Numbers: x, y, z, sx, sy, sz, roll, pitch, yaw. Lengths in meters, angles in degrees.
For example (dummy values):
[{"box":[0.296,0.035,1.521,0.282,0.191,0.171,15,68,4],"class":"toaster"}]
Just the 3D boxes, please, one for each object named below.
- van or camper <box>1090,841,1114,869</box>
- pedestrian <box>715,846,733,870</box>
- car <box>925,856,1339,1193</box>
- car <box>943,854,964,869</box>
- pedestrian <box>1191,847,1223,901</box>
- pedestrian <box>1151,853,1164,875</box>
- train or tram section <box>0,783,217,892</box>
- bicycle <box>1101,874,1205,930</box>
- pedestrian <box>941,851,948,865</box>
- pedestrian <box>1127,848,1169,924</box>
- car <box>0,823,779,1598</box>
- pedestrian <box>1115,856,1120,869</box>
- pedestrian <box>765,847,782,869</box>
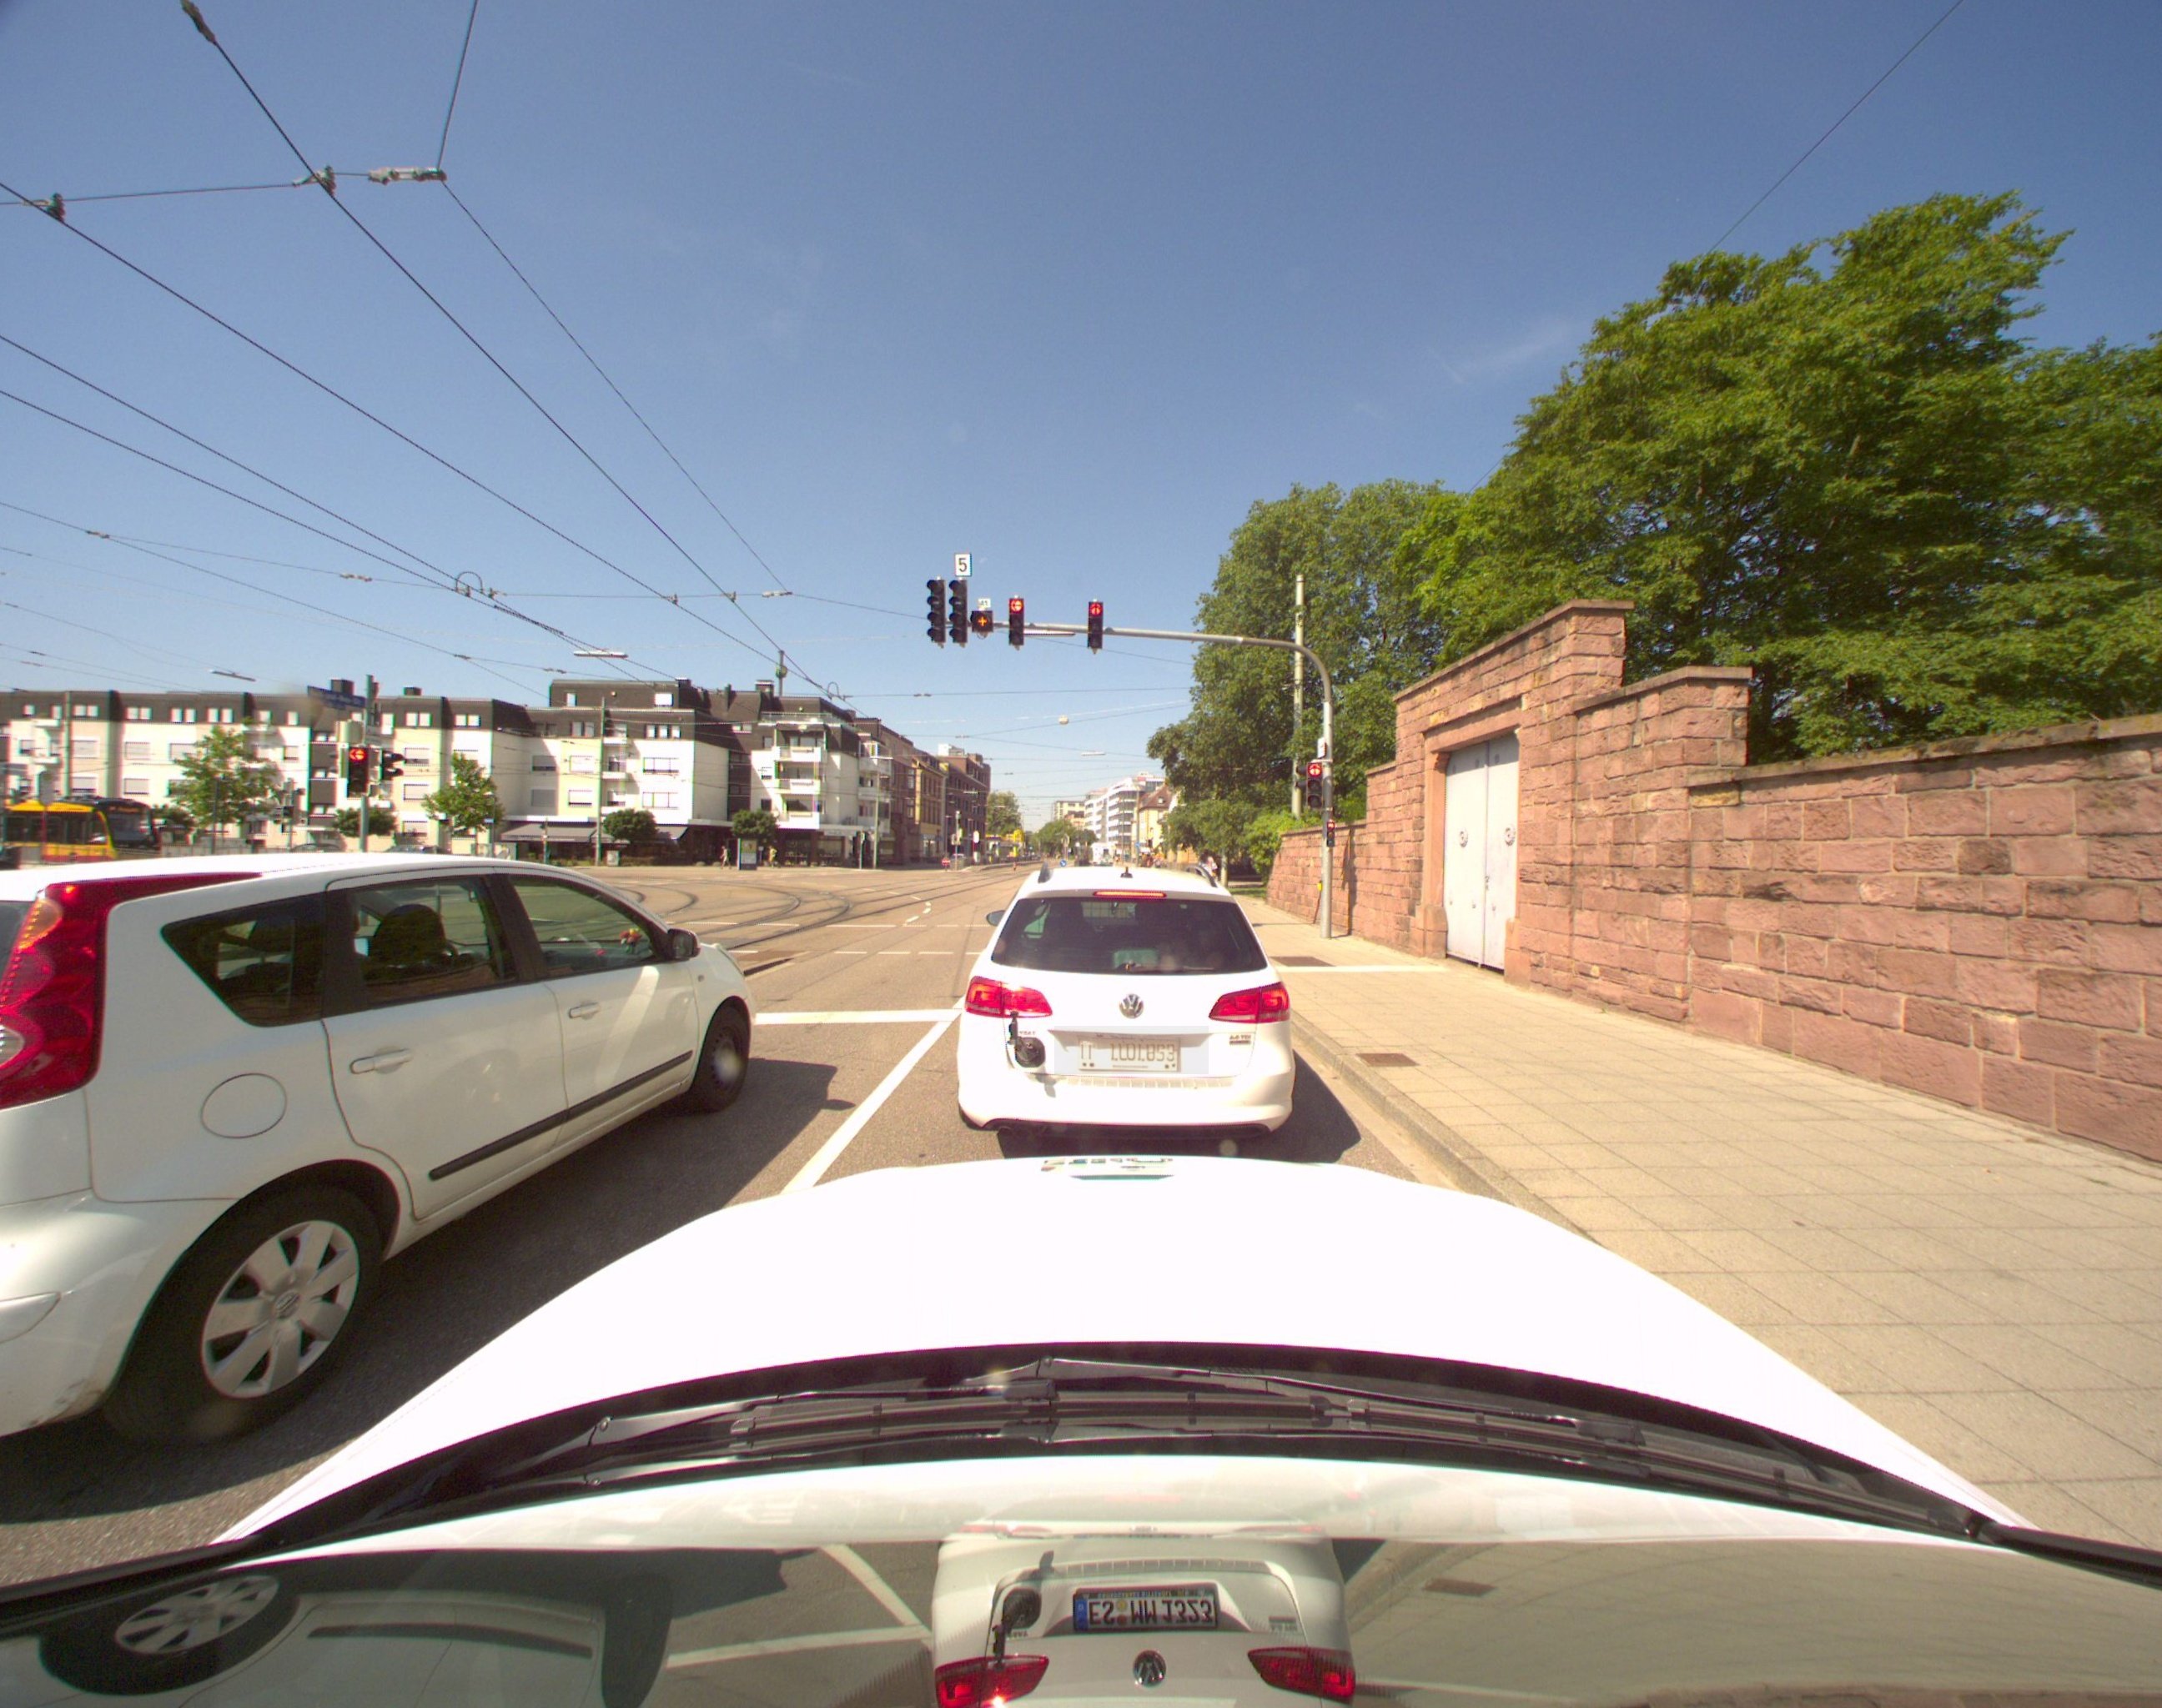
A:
[{"box":[2.398,0.142,93.718,2.559,3.093,5.701,-1,-1,0],"class":"van or camper"},{"box":[-26.597,0.290,60.682,0.853,1.743,0.980,-2,-2,45],"class":"pedestrian"},{"box":[0.279,0.750,5.569,1.801,1.448,4.001,0,0,1],"class":"car"},{"box":[-13.854,0.828,88.927,1.736,1.618,3.997,-1,-1,-1],"class":"car"},{"box":[3.910,0.618,25.291,0.947,1.651,0.977,-1,-1,7],"class":"pedestrian"},{"box":[6.291,0.803,66.874,0.862,1.743,0.971,-1,-1,-10],"class":"pedestrian"},{"box":[-54.709,-0.682,41.524,16.149,5.150,4.735,-1,-1,0],"class":"train or tram section"},{"box":[1.479,0.986,16.847,2.019,1.090,0.708,1,0,-9],"class":"bicycle"},{"box":[-17.673,0.543,105.437,0.860,1.743,0.973,-1,-1,-4],"class":"pedestrian"},{"box":[1.416,0.659,17.406,0.745,1.571,0.673,-1,0,-10],"class":"pedestrian"},{"box":[-2.902,0.705,3.550,1.636,1.566,3.805,-1,1,1],"class":"car"},{"box":[6.392,1.471,142.999,0.687,2.325,1.233,-1,-1,3],"class":"pedestrian"},{"box":[-24.456,0.302,64.724,0.853,1.743,0.981,-2,-2,44],"class":"pedestrian"}]
